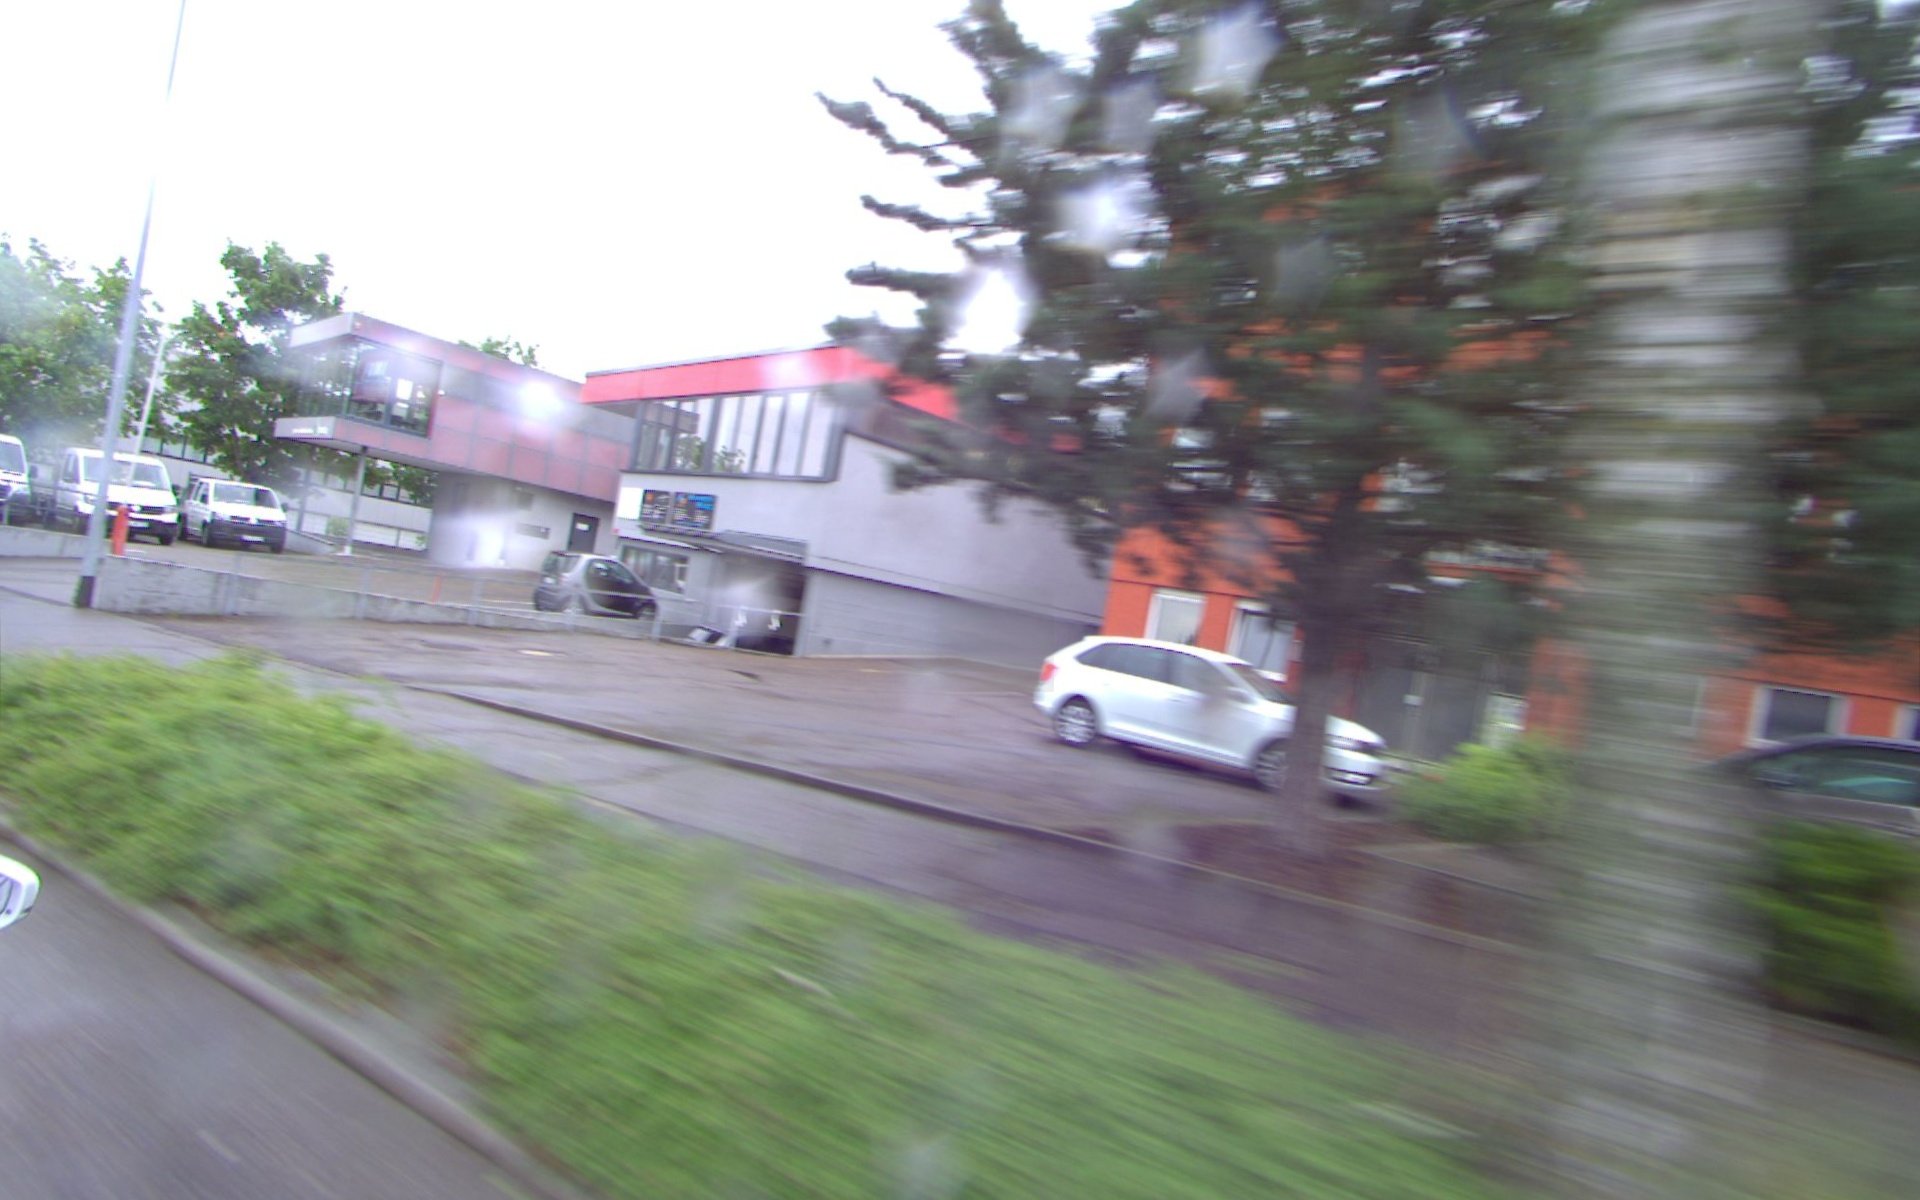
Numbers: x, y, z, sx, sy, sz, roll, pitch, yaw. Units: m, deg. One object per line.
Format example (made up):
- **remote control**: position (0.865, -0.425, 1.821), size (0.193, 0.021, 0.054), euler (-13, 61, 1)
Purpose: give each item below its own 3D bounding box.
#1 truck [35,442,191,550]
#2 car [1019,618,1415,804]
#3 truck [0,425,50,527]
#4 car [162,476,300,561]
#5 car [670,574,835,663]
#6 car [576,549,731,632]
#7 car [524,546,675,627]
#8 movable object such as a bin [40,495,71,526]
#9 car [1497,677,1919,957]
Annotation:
- **truck**: position (-22.748, -2.769, 26.964), size (4.767, 2.370, 2.241), euler (6, 0, 39)
- **car**: position (3.110, 1.266, 12.504), size (4.259, 1.488, 1.906), euler (7, -1, 34)
- **truck**: position (-24.727, -3.217, 24.859), size (5.566, 2.240, 2.107), euler (6, -2, 37)
- **car**: position (-21.537, -2.435, 29.637), size (4.869, 2.037, 2.055), euler (6, -2, 41)
- **car**: position (-4.454, 0.432, 21.815), size (1.607, 1.513, 3.031), euler (7, -1, 42)
- **car**: position (-9.293, -0.261, 30.697), size (3.919, 1.757, 1.835), euler (12, -2, -44)
- **car**: position (-8.266, -0.291, 23.128), size (1.656, 1.463, 2.706), euler (6, -1, 44)
- **movable object such as a bin**: position (-26.820, -2.651, 29.828), size (0.532, 0.827, 0.564), euler (6, -1, 42)
- **car**: position (7.052, 1.767, 7.911), size (1.991, 1.596, 4.459), euler (11, -4, -41)
